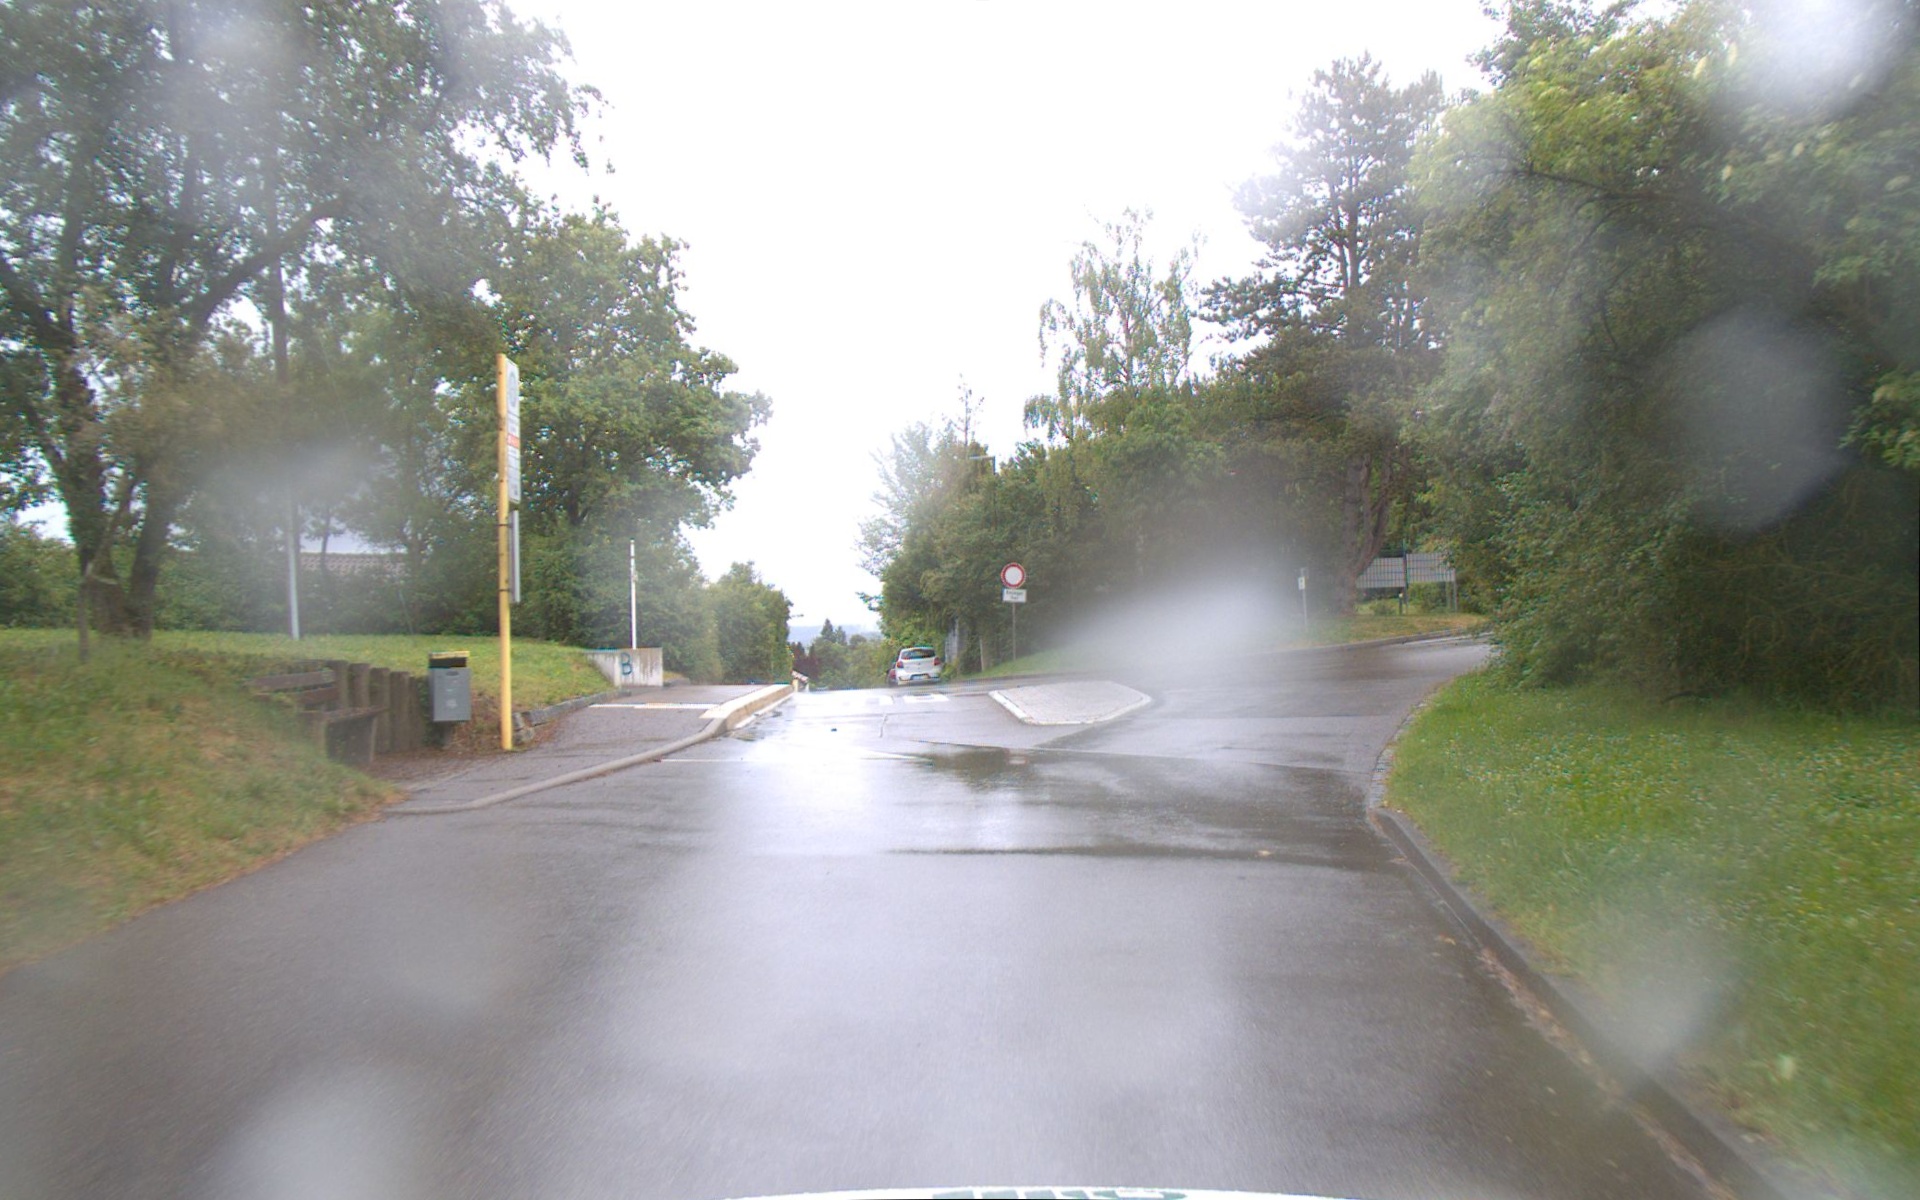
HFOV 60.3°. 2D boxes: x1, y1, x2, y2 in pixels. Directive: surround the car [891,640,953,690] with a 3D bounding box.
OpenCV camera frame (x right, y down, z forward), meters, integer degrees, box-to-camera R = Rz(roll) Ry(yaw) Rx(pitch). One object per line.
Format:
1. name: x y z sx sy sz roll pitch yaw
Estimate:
1. car: -1.304 2.322 58.253 1.952 1.611 4.000 -1 -4 1
